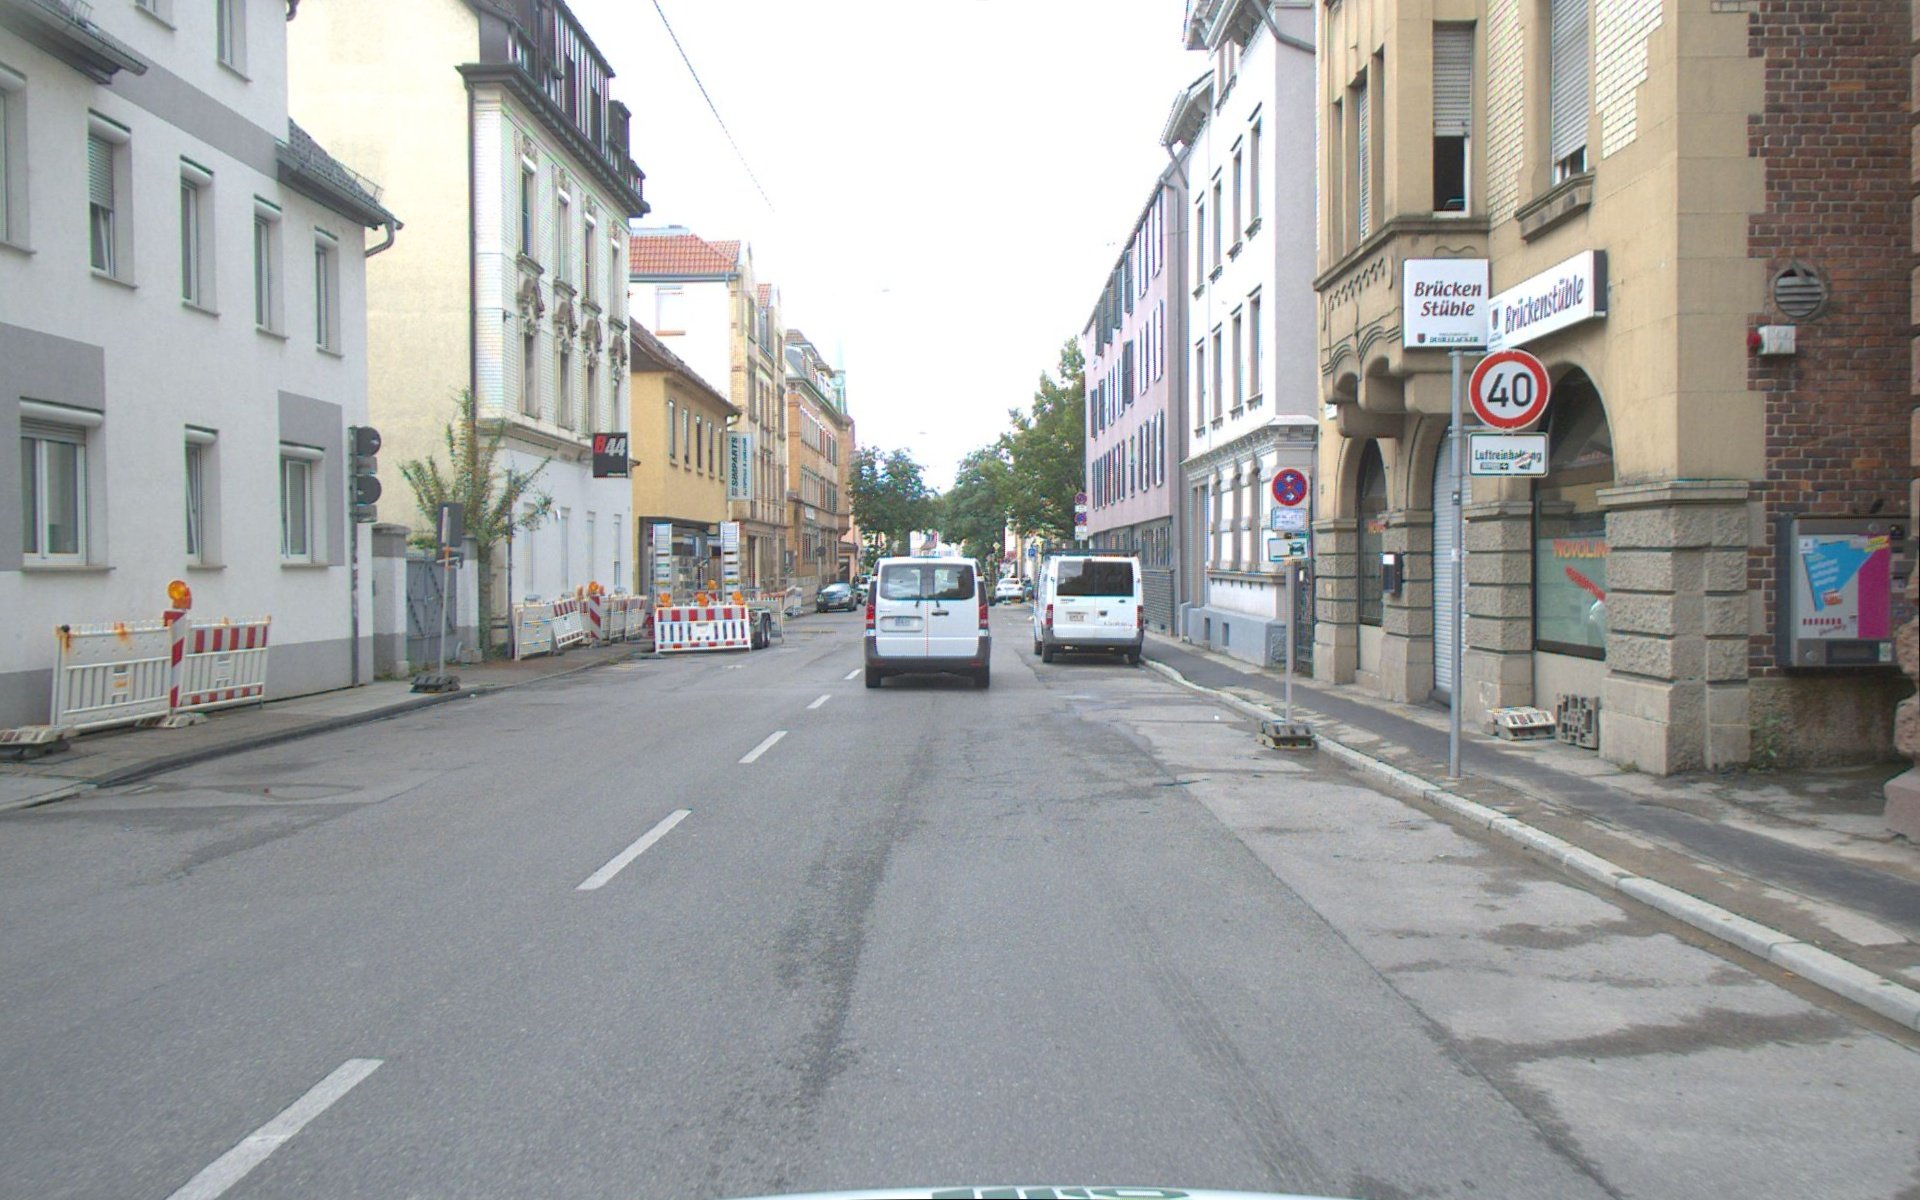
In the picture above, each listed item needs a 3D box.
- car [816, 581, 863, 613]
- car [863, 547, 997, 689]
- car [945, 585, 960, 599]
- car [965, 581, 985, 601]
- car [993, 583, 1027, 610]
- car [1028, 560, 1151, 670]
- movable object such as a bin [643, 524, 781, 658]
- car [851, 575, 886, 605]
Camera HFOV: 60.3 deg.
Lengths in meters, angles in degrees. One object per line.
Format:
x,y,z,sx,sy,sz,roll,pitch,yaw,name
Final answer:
-5.782,-0.157,79.506,1.953,1.467,4.000,-2,1,0,car
-0.526,0.259,25.496,1.854,1.962,4.642,-1,0,-3,car
-0.918,-0.975,202.614,1.718,1.702,3.669,-1,0,1,car
1.608,-0.984,175.539,1.952,2.049,4.001,-1,0,2,car
3.117,-0.239,104.189,1.953,1.511,4.000,3,1,0,car
2.528,0.262,33.530,2.085,2.040,4.926,1,0,0,car
-5.741,-0.216,38.902,2.485,2.874,4.538,-2,0,0,movable object such as a bin
-5.751,-0.641,104.317,1.953,1.771,4.000,2,0,-1,car
